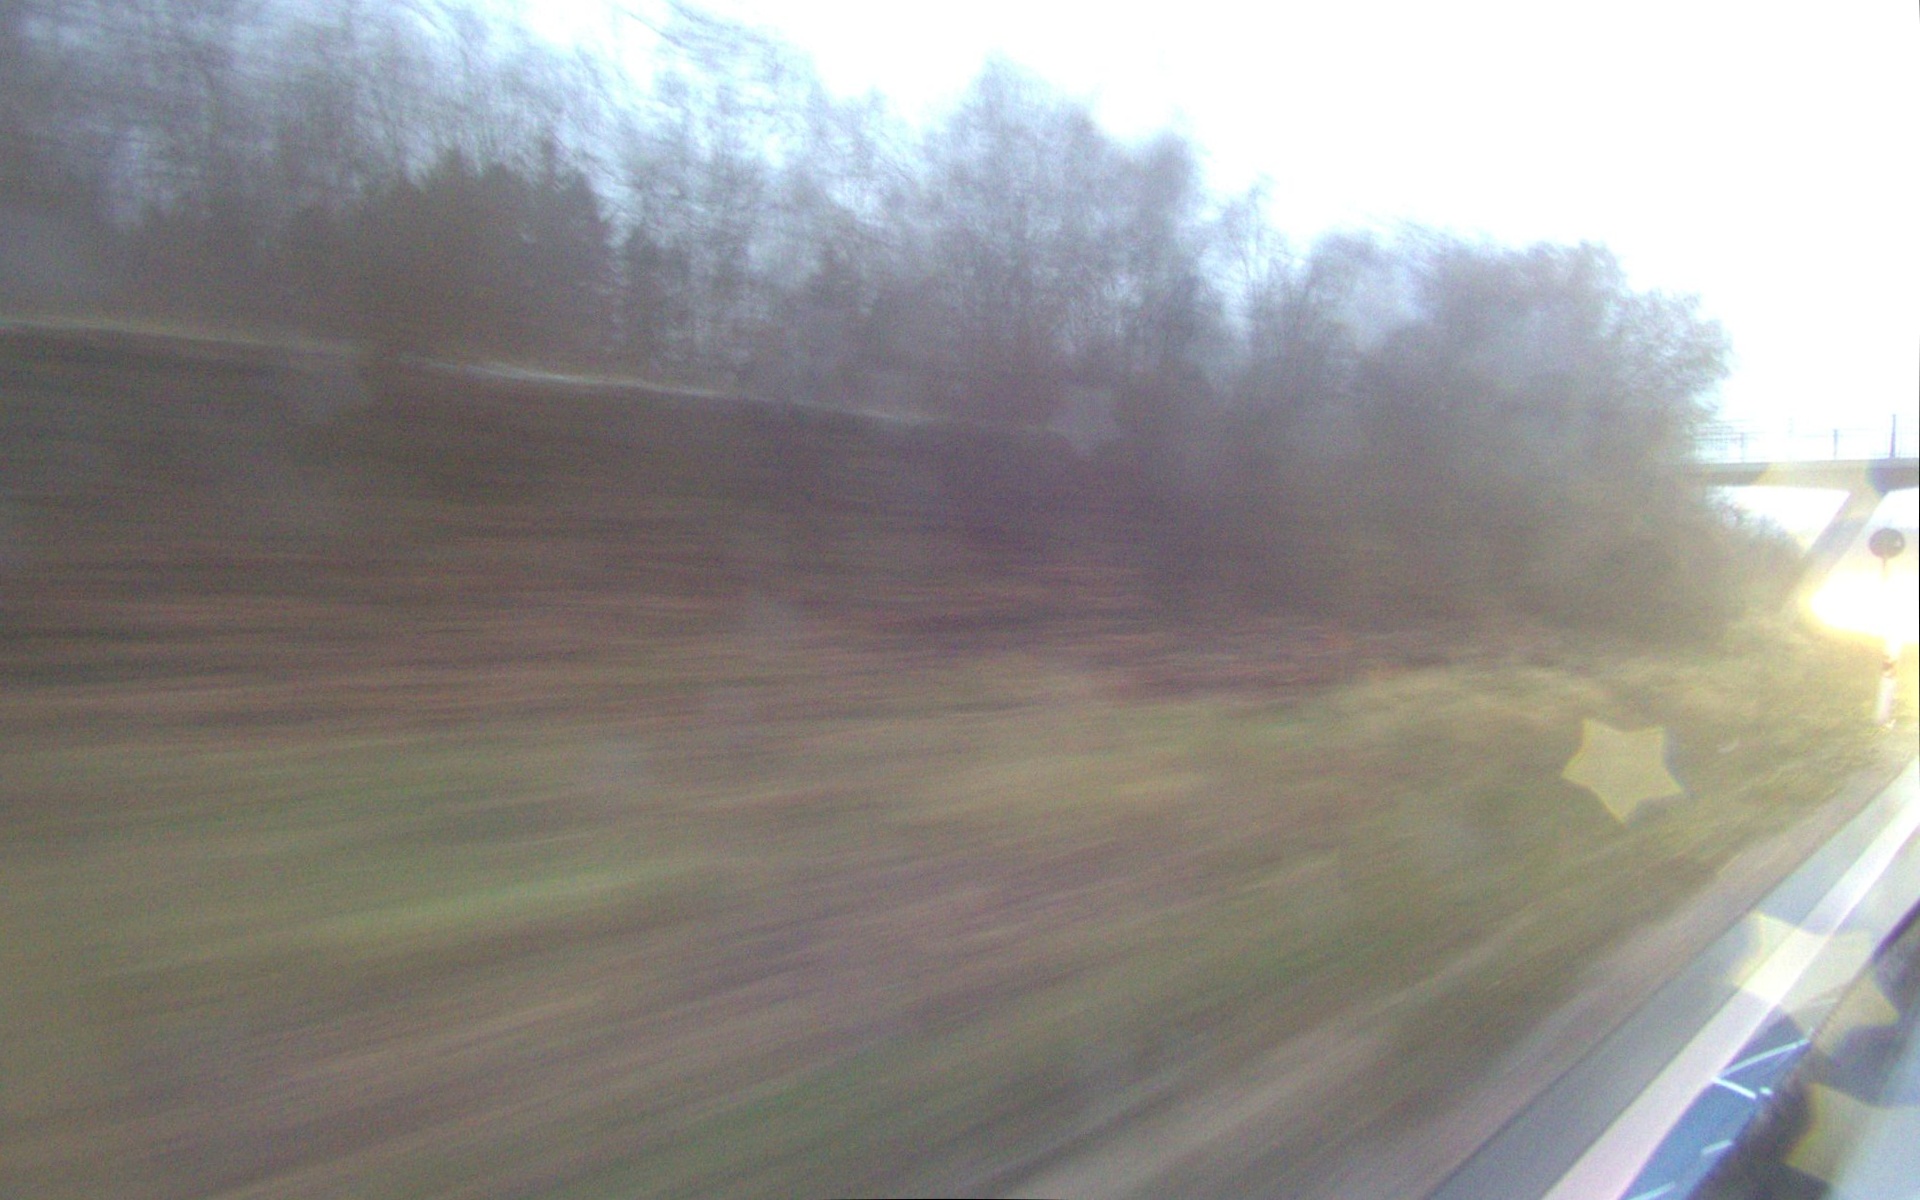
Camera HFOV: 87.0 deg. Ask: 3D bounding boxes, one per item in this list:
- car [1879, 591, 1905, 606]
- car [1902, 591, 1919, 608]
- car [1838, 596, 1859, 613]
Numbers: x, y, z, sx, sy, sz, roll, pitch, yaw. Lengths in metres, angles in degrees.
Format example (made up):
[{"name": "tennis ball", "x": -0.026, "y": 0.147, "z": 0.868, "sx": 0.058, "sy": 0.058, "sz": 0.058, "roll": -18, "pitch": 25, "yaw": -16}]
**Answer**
[{"name": "car", "x": 103.175, "y": -0.197, "z": 112.073, "sx": 2.003, "sy": 1.575, "sz": 4.450, "roll": 1, "pitch": 2, "yaw": 41}, {"name": "car", "x": 94.261, "y": -0.037, "z": 99.995, "sx": 1.713, "sy": 1.647, "sz": 4.152, "roll": 1, "pitch": 1, "yaw": 43}, {"name": "car", "x": 99.599, "y": 0.465, "z": 113.428, "sx": 1.695, "sy": 1.752, "sz": 3.943, "roll": 0, "pitch": 2, "yaw": 40}]
